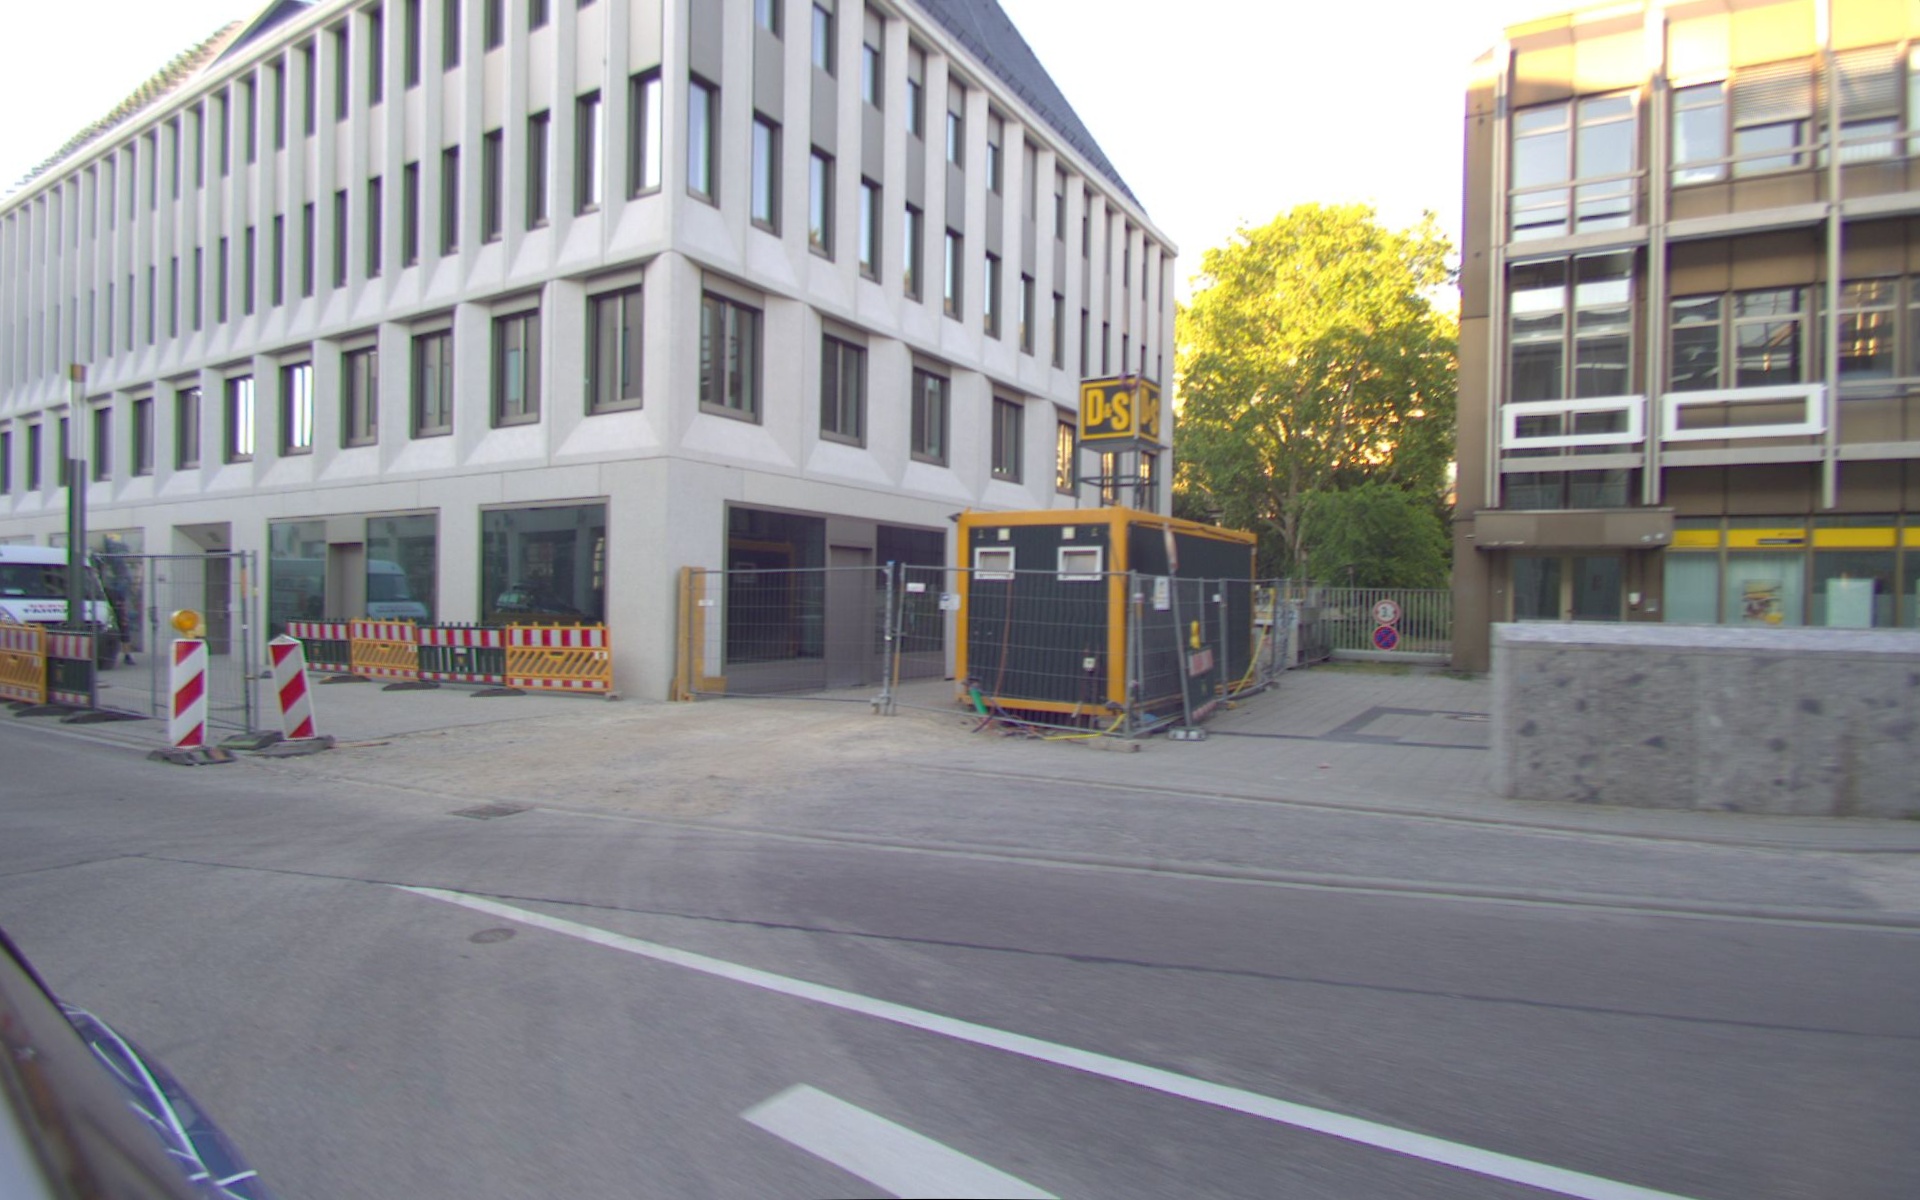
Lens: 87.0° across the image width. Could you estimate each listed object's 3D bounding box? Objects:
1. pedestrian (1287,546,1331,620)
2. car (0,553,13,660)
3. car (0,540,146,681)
[{"bbox_3d":[9.732,-0.464,28.213,0.943,2.029,0.880,0,-1,38],"label":"pedestrian"},{"bbox_3d":[-25.218,0.117,24.326,5.980,2.489,2.157,0,0,32],"label":"car"},{"bbox_3d":[-18.939,0.178,20.355,5.979,2.489,2.157,0,0,32],"label":"car"}]
